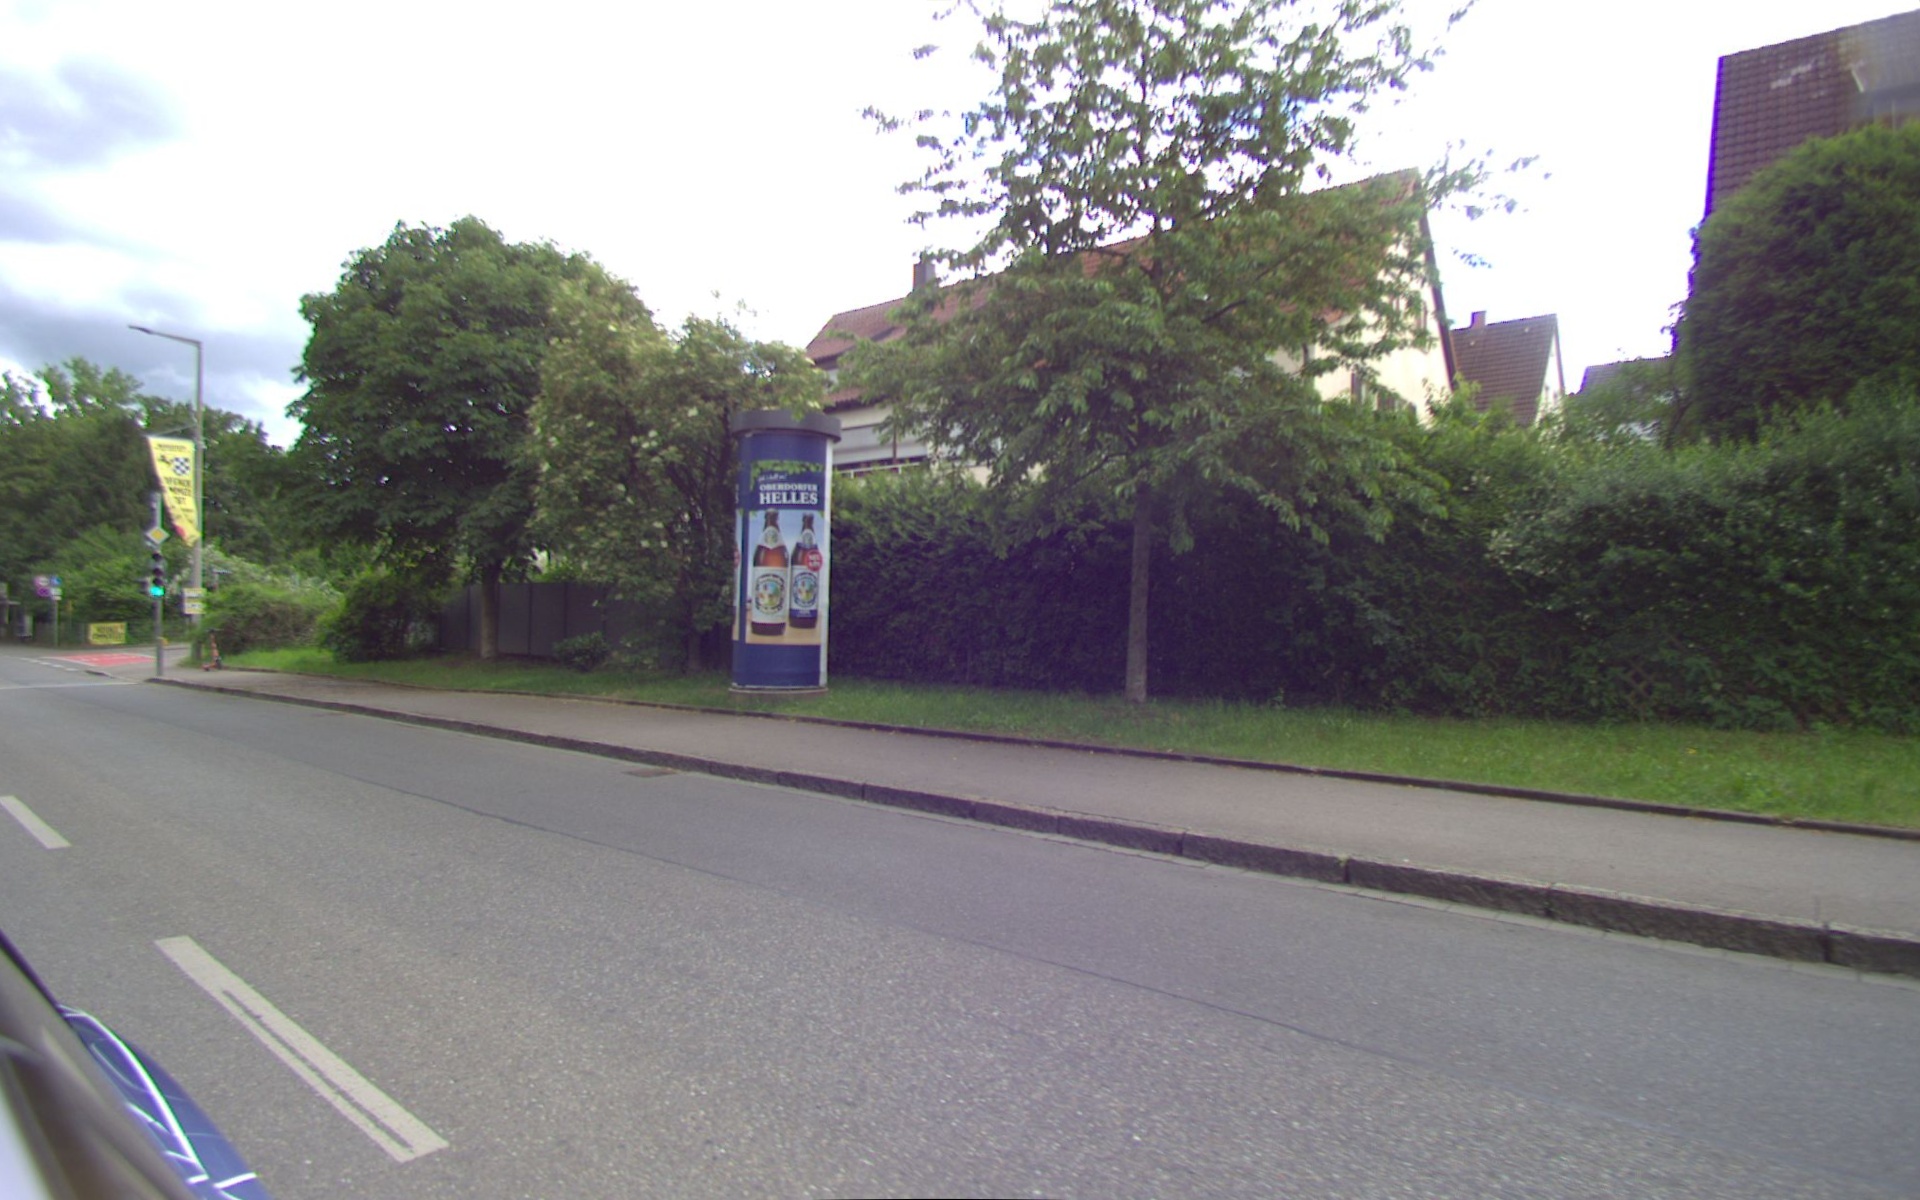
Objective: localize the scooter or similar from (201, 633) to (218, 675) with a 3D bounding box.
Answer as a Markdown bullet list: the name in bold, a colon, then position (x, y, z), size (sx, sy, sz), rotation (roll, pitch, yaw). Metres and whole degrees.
- **scooter or similar**: position (-22.542, 1.618, 30.396), size (0.250, 1.225, 1.280), rotation (0, -2, -45)
